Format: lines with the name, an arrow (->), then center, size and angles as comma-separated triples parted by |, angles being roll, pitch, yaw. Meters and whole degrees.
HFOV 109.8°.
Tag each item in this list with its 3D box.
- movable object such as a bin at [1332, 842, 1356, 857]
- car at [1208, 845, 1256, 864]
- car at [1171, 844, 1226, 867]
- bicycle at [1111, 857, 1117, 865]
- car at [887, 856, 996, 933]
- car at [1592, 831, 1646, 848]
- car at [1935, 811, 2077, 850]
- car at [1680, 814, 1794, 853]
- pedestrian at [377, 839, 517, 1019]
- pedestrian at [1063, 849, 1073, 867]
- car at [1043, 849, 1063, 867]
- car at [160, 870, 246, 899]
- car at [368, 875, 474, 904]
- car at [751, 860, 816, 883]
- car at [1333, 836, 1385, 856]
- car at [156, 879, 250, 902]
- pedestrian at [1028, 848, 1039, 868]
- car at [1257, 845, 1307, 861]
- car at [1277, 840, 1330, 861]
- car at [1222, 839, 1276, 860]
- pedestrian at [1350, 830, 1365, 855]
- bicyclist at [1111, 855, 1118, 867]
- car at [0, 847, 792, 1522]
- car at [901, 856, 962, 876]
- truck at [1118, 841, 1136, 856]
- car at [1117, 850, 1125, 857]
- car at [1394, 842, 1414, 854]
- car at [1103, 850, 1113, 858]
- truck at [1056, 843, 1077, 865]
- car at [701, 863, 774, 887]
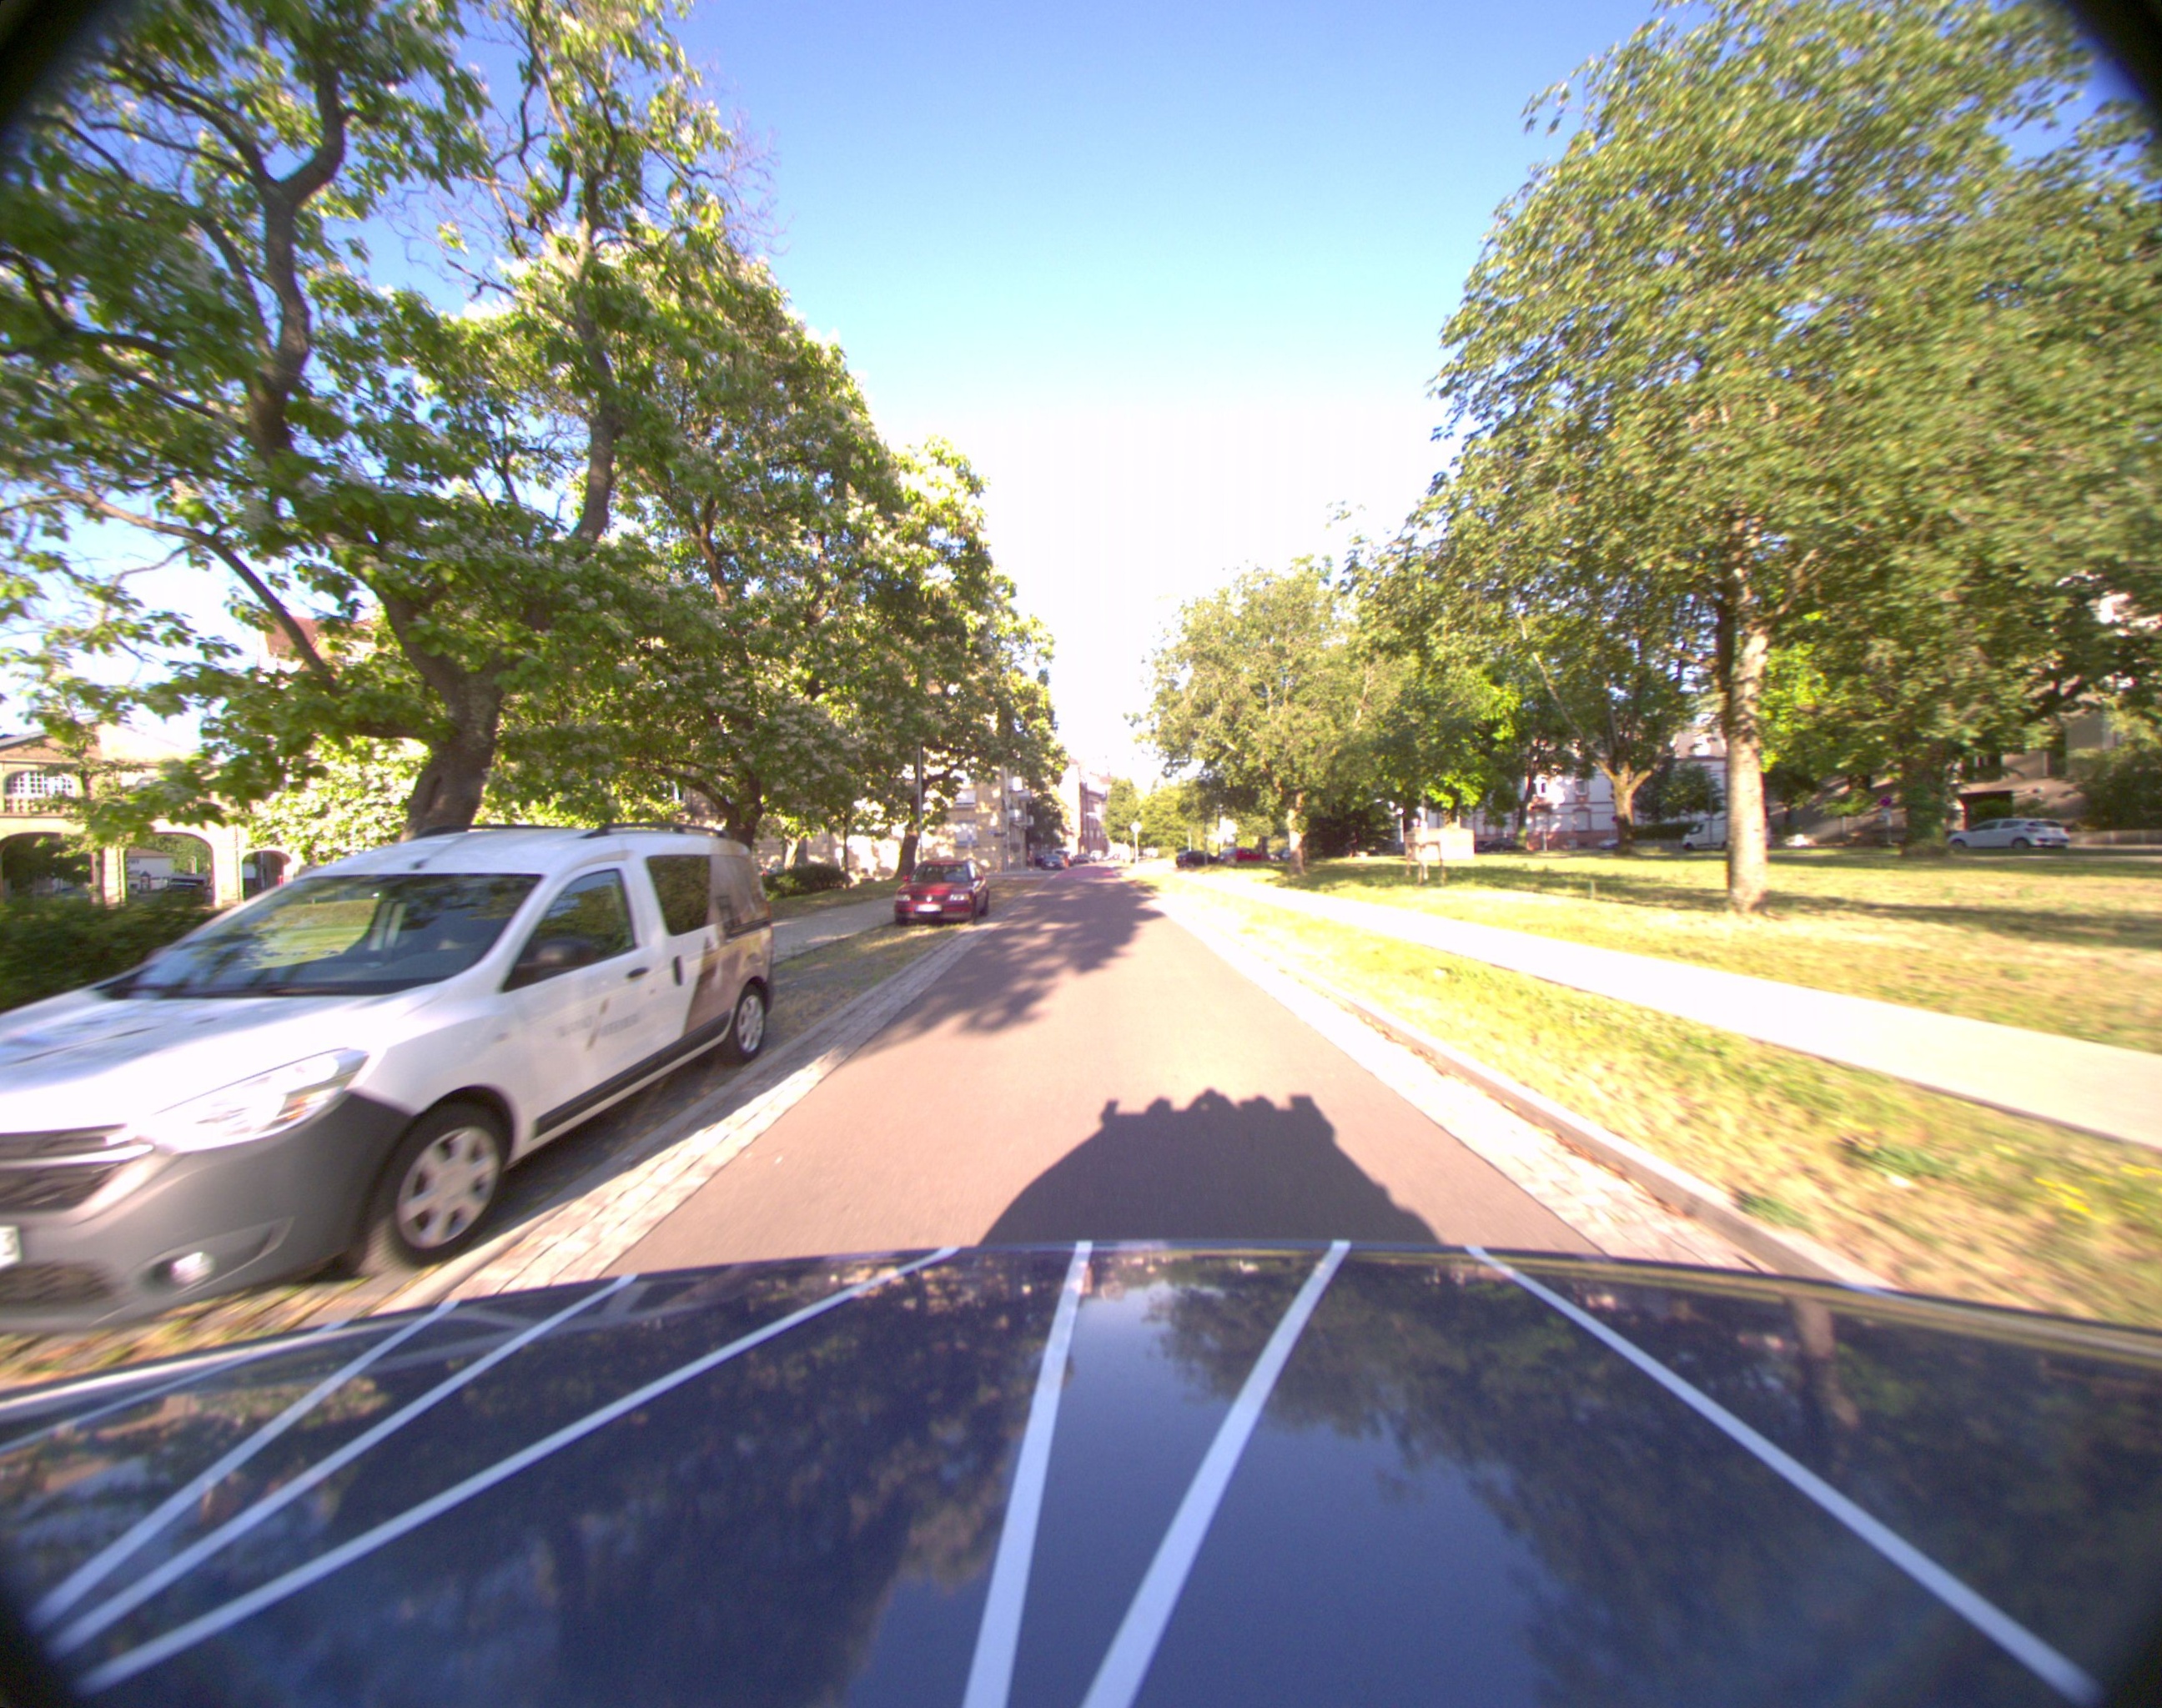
movable object such as a bin -> 18.460, -0.323, 53.368 | 1.333, 0.984, 0.949 | -2, 1, -3
car -> 13.783, 0.008, 69.321 | 3.851, 1.622, 1.836 | -2, 1, -23
car -> 9.495, 0.096, 61.450 | 4.004, 1.565, 1.887 | -3, 2, -24
bicycle -> 4.952, 1.021, 113.575 | 0.739, 1.129, 2.105 | -2, 0, 7
car -> -3.163, 0.847, 18.188 | 1.682, 1.477, 4.809 | -2, 1, 0
car -> 53.721, -1.445, 75.910 | 3.997, 1.565, 1.890 | -2, 2, 0
car -> 42.443, -1.048, 35.002 | 1.998, 1.608, 3.738 | -3, 0, 1
car -> 39.586, -1.175, 46.065 | 2.675, 2.101, 4.969 | -3, 0, 2
pedestrian -> -6.475, 0.735, 7.801 | 0.727, 1.726, 0.731 | -3, 1, 1
pedestrian -> -1.257, 0.390, 73.123 | 0.778, 1.759, 0.955 | -3, 1, 2
car -> -2.633, 0.418, 71.646 | 1.707, 1.616, 4.349 | 0, 0, 1
car -> -70.204, 2.405, 60.808 | 1.814, 2.096, 4.380 | -1, 1, 38
car -> -38.677, 2.063, 44.659 | 4.378, 1.409, 1.815 | -2, 1, -29
car -> -22.635, 1.319, 57.999 | 4.456, 1.590, 1.800 | -2, 1, -17
car -> 24.373, -0.739, 66.725 | 4.003, 1.565, 1.887 | -3, 2, -19
car -> -65.462, 2.667, 56.704 | 1.814, 1.409, 4.380 | -1, 1, 35
pedestrian -> -4.523, 0.378, 72.549 | 0.733, 1.819, 0.555 | -3, 1, -35
car -> 18.846, -0.111, 71.304 | 4.281, 1.392, 1.836 | -2, 1, -21
car -> 19.045, -0.333, 64.980 | 4.003, 1.565, 1.887 | -3, 2, -20
car -> 13.928, -0.389, 63.046 | 4.004, 1.565, 1.887 | -3, 2, -24
pedestrian -> 19.430, -0.790, 53.406 | 0.664, 1.686, 0.672 | -3, 1, -3
bicyclist -> 4.953, 1.062, 113.504 | 0.939, 1.693, 0.906 | -2, 1, 7
car -> -3.333, 0.859, 4.212 | 1.682, 1.730, 4.513 | -2, 1, 0
car -> -11.712, 0.950, 59.738 | 4.452, 1.411, 1.934 | -2, 1, -5
truck -> 10.982, -1.457, 181.525 | 3.018, 3.423, 7.629 | -1, 1, 12
car -> 9.067, -0.183, 172.016 | 1.582, 1.499, 3.848 | -1, 1, 8
car -> 49.226, -0.941, 115.808 | 1.888, 1.565, 4.601 | -1, 2, 11
car -> 5.560, 0.000, 154.279 | 1.582, 1.499, 3.848 | -1, 1, 7
truck -> -1.728, -0.015, 93.627 | 2.133, 2.549, 6.877 | -2, 1, 3
car -> -23.286, 1.406, 51.695 | 4.370, 1.409, 1.842 | -2, 1, -20
